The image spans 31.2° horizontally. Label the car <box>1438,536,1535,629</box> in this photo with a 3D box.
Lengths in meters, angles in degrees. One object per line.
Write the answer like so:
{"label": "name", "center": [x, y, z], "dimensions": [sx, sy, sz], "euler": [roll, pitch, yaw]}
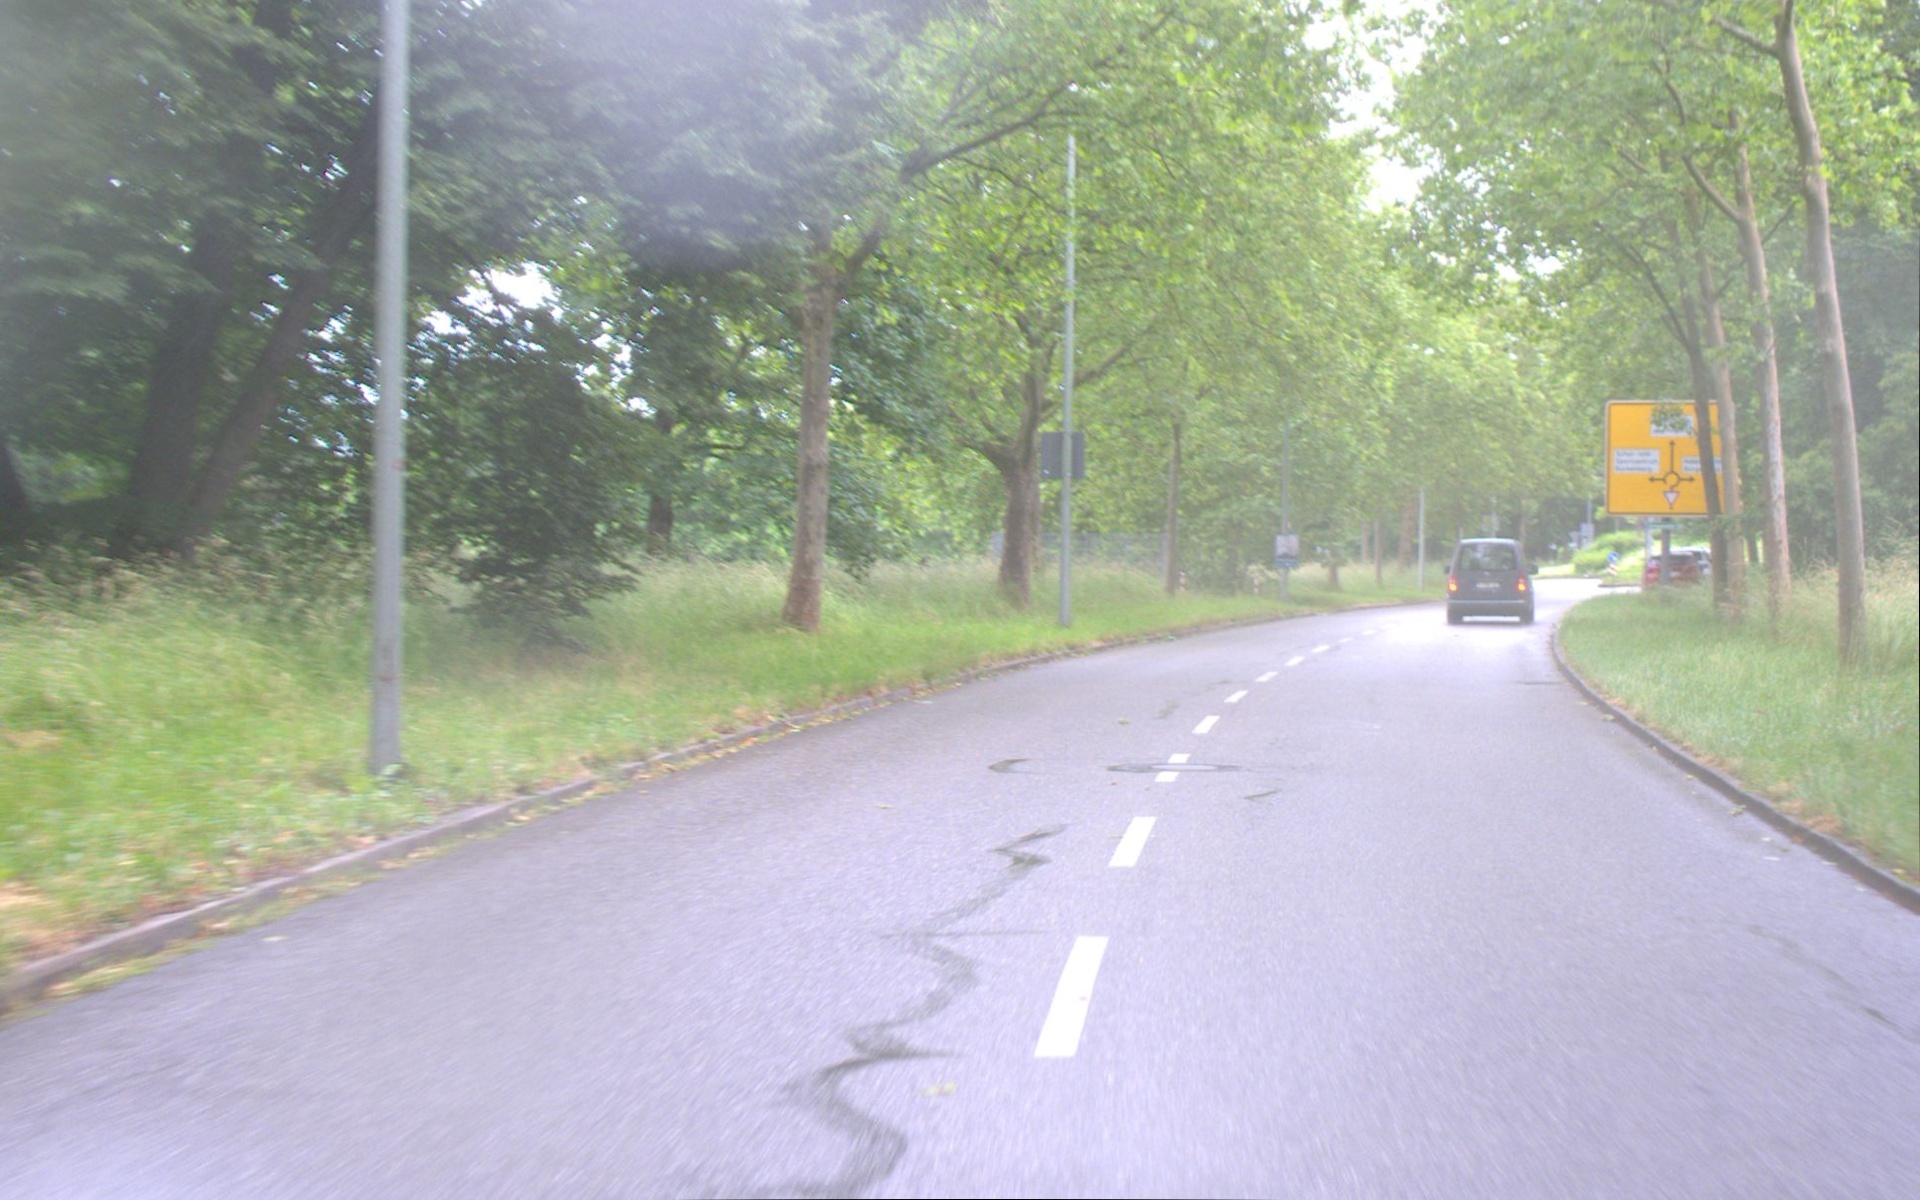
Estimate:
{"label": "car", "center": [11.426, -0.397, 74.466], "dimensions": [1.986, 1.919, 3.999], "euler": [2, 1, 9]}

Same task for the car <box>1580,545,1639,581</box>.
{"label": "car", "center": [28.188, -1.599, 149.131], "dimensions": [1.796, 1.505, 3.996], "euler": [2, 1, 21]}
